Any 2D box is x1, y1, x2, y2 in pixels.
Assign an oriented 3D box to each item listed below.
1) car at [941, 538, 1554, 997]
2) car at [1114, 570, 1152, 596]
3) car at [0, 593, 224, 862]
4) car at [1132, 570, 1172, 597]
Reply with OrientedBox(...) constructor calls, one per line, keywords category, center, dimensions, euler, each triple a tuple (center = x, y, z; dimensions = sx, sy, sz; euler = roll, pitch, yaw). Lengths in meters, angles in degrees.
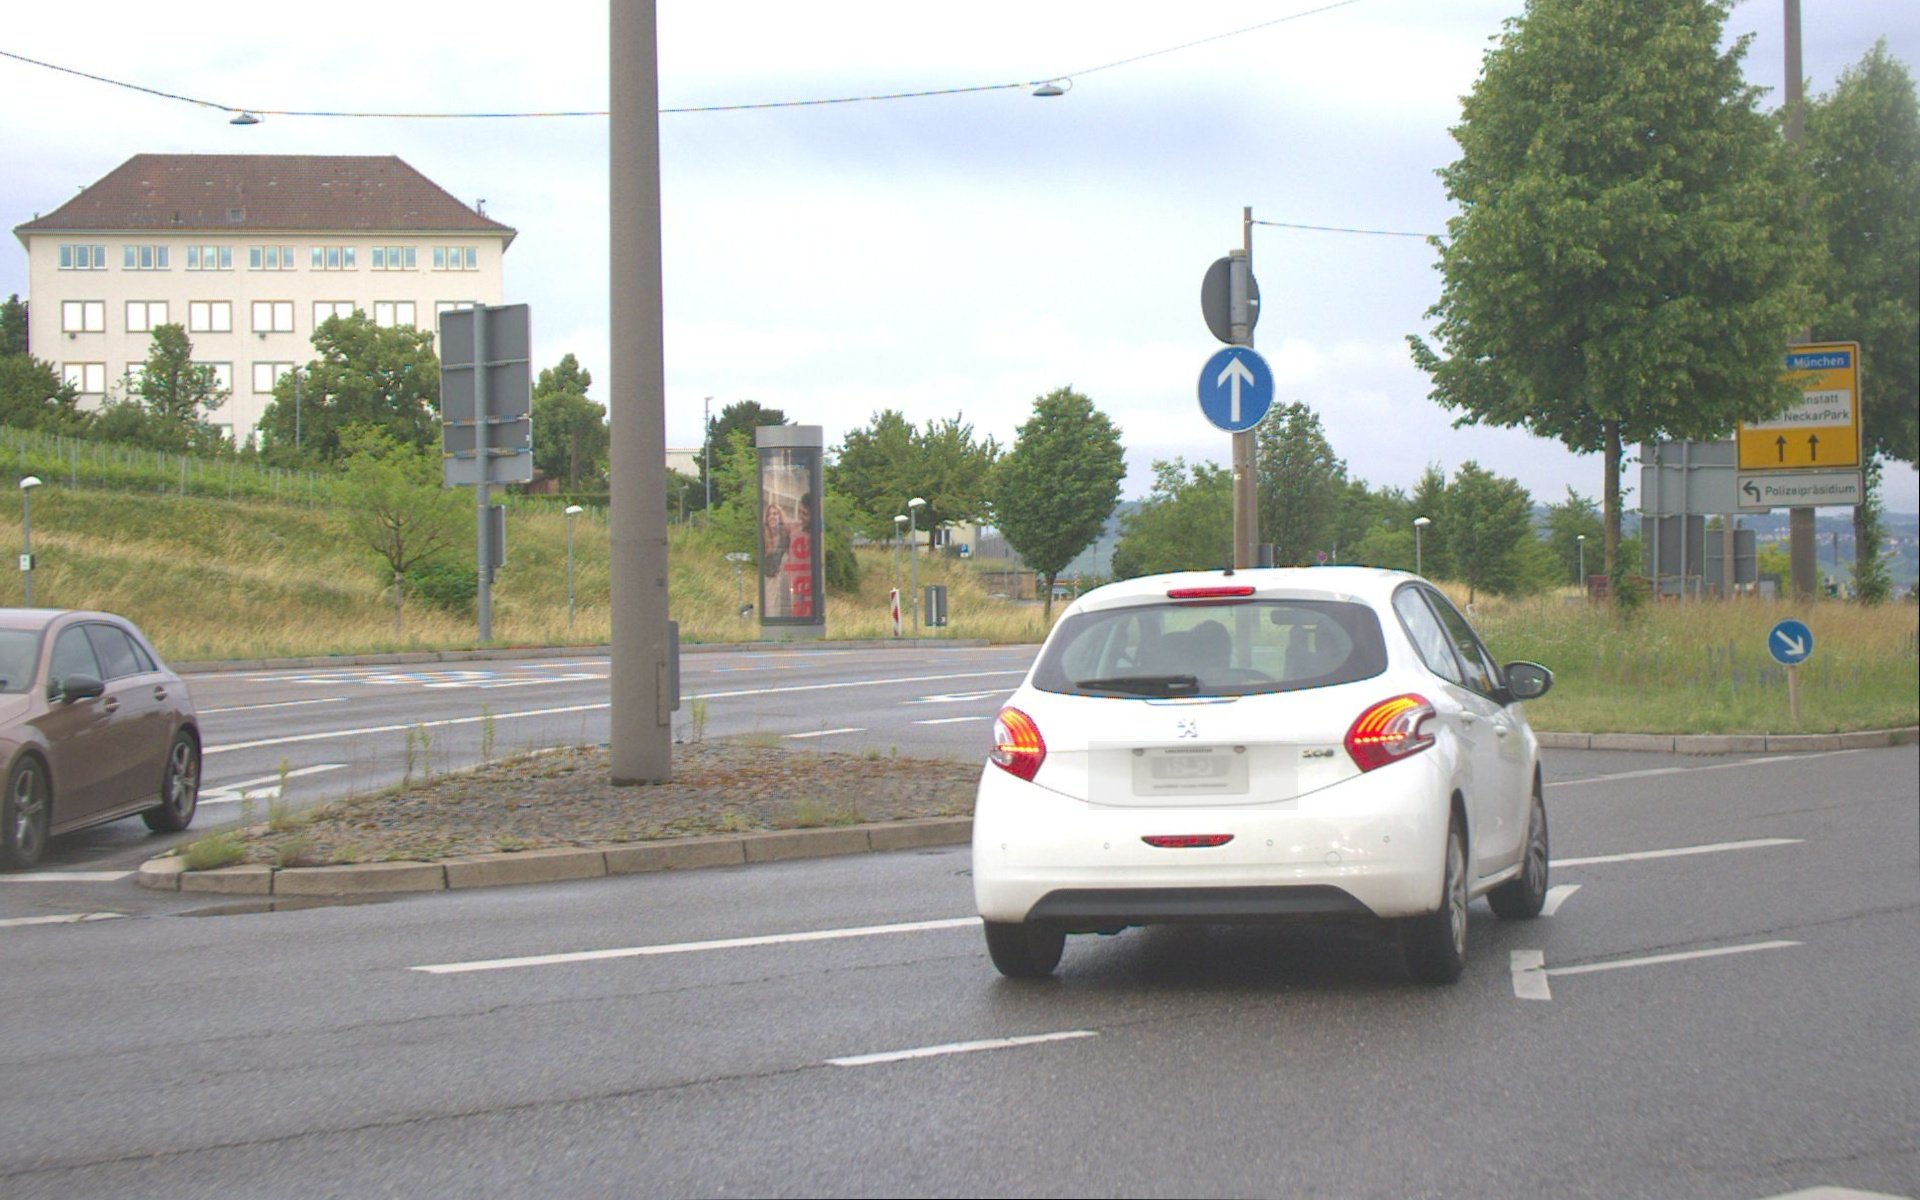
OrientedBox(category="car", center=(1.268, 0.529, 13.343), dimensions=(1.719, 1.484, 3.997), euler=(1, 0, 14))
OrientedBox(category="car", center=(10.203, -1.034, 202.964), dimensions=(1.841, 1.481, 4.000), euler=(0, 1, -2))
OrientedBox(category="car", center=(-5.850, 0.688, 20.191), dimensions=(1.776, 1.420, 4.373), euler=(-1, 0, 5))
OrientedBox(category="car", center=(10.858, -0.954, 194.577), dimensions=(1.841, 1.481, 4.000), euler=(0, 1, -2))
